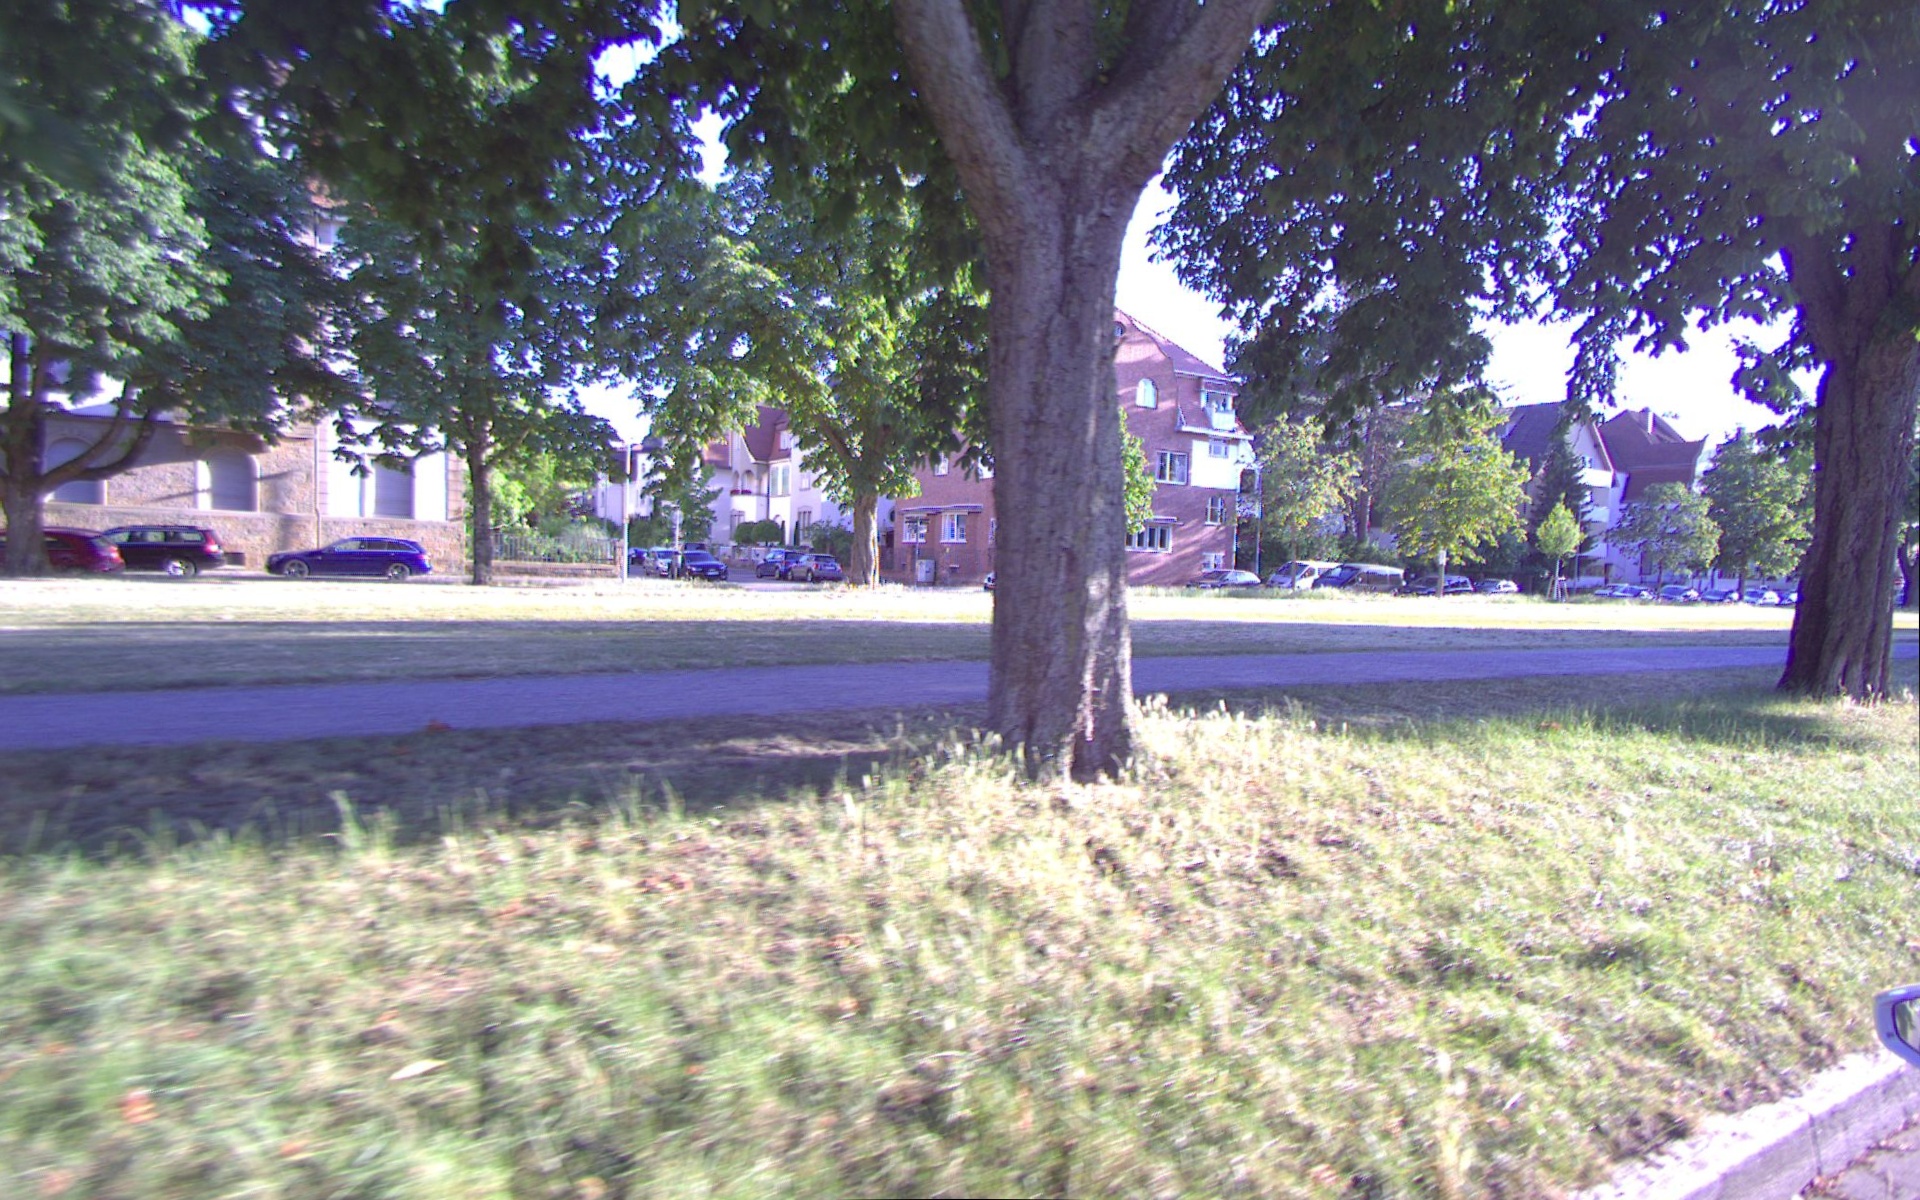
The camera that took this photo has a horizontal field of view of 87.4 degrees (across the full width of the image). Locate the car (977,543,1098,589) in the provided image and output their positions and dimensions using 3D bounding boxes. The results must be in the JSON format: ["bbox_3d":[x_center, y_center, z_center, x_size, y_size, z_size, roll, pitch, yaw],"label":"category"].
[{"bbox_3d":[3.113,-1.350,40.202,4.596,1.662,1.810,0,3,-31],"label":"car"}]

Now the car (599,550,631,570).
[{"bbox_3d":[-29.740,-3.451,86.514,1.814,1.595,3.877,0,3,-30],"label":"car"}]

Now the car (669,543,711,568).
[{"bbox_3d":[-18.249,-3.024,67.767,1.814,1.595,3.877,0,3,-30],"label":"car"}]

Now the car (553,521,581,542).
[{"bbox_3d":[-43.602,-7.625,111.456,1.980,2.208,3.960,0,4,-35],"label":"car"}]

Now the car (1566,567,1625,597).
[{"bbox_3d":[46.229,-1.277,73.046,3.952,2.040,2.022,1,1,-30],"label":"car"}]

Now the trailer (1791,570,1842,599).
[{"bbox_3d":[78.178,-1.380,91.674,4.668,2.461,1.984,1,3,-30],"label":"trailer"}]

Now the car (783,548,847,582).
[{"bbox_3d":[-7.234,-1.780,49.788,1.842,1.506,3.969,1,3,-29],"label":"car"}]

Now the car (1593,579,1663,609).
[{"bbox_3d":[42.629,-0.354,64.067,3.950,1.706,1.985,1,3,-28],"label":"car"}]

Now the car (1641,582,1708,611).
[{"bbox_3d":[47.346,-0.243,66.571,3.950,1.706,1.985,1,3,-28],"label":"car"}]

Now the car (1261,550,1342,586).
[{"bbox_3d":[19.119,-1.770,56.271,4.356,1.863,1.808,1,3,-30],"label":"car"}]

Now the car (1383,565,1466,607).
[{"bbox_3d":[24.748,-0.758,53.540,3.953,2.041,1.984,1,5,-30],"label":"car"}]

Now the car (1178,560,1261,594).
[{"bbox_3d":[13.884,-1.238,53.747,4.254,1.645,1.748,1,3,-30],"label":"car"}]

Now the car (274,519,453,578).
[{"bbox_3d":[-19.664,-1.675,33.240,4.956,1.773,1.981,0,3,-34],"label":"car"}]

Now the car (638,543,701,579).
[{"bbox_3d":[-15.108,-2.041,52.038,2.162,1.629,4.832,1,3,-29],"label":"car"}]

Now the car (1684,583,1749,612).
[{"bbox_3d":[52.247,-0.176,69.343,4.203,1.744,1.984,1,3,-29],"label":"car"}]

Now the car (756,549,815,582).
[{"bbox_3d":[-9.317,-1.873,53.447,1.814,1.595,3.877,0,3,-30],"label":"car"}]

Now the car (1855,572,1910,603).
[{"bbox_3d":[92.007,-1.240,100.146,5.750,2.961,2.426,1,1,-31],"label":"car"}]

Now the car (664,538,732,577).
[{"bbox_3d":[-12.355,-2.009,47.202,1.976,1.629,4.832,1,3,-29],"label":"car"}]

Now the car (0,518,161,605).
[{"bbox_3d":[-22.964,-0.980,24.765,4.816,2.041,1.985,1,3,-29],"label":"car"}]

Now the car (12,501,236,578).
[{"bbox_3d":[-24.842,-1.781,30.121,4.816,2.041,1.985,1,3,-29],"label":"car"}]

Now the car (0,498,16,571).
[{"bbox_3d":[-29.141,-1.884,27.547,4.379,2.041,1.982,1,3,-32],"label":"car"}]

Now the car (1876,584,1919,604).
[{"bbox_3d":[80.994,-0.517,86.579,4.262,1.581,1.677,1,3,-30],"label":"car"}]
